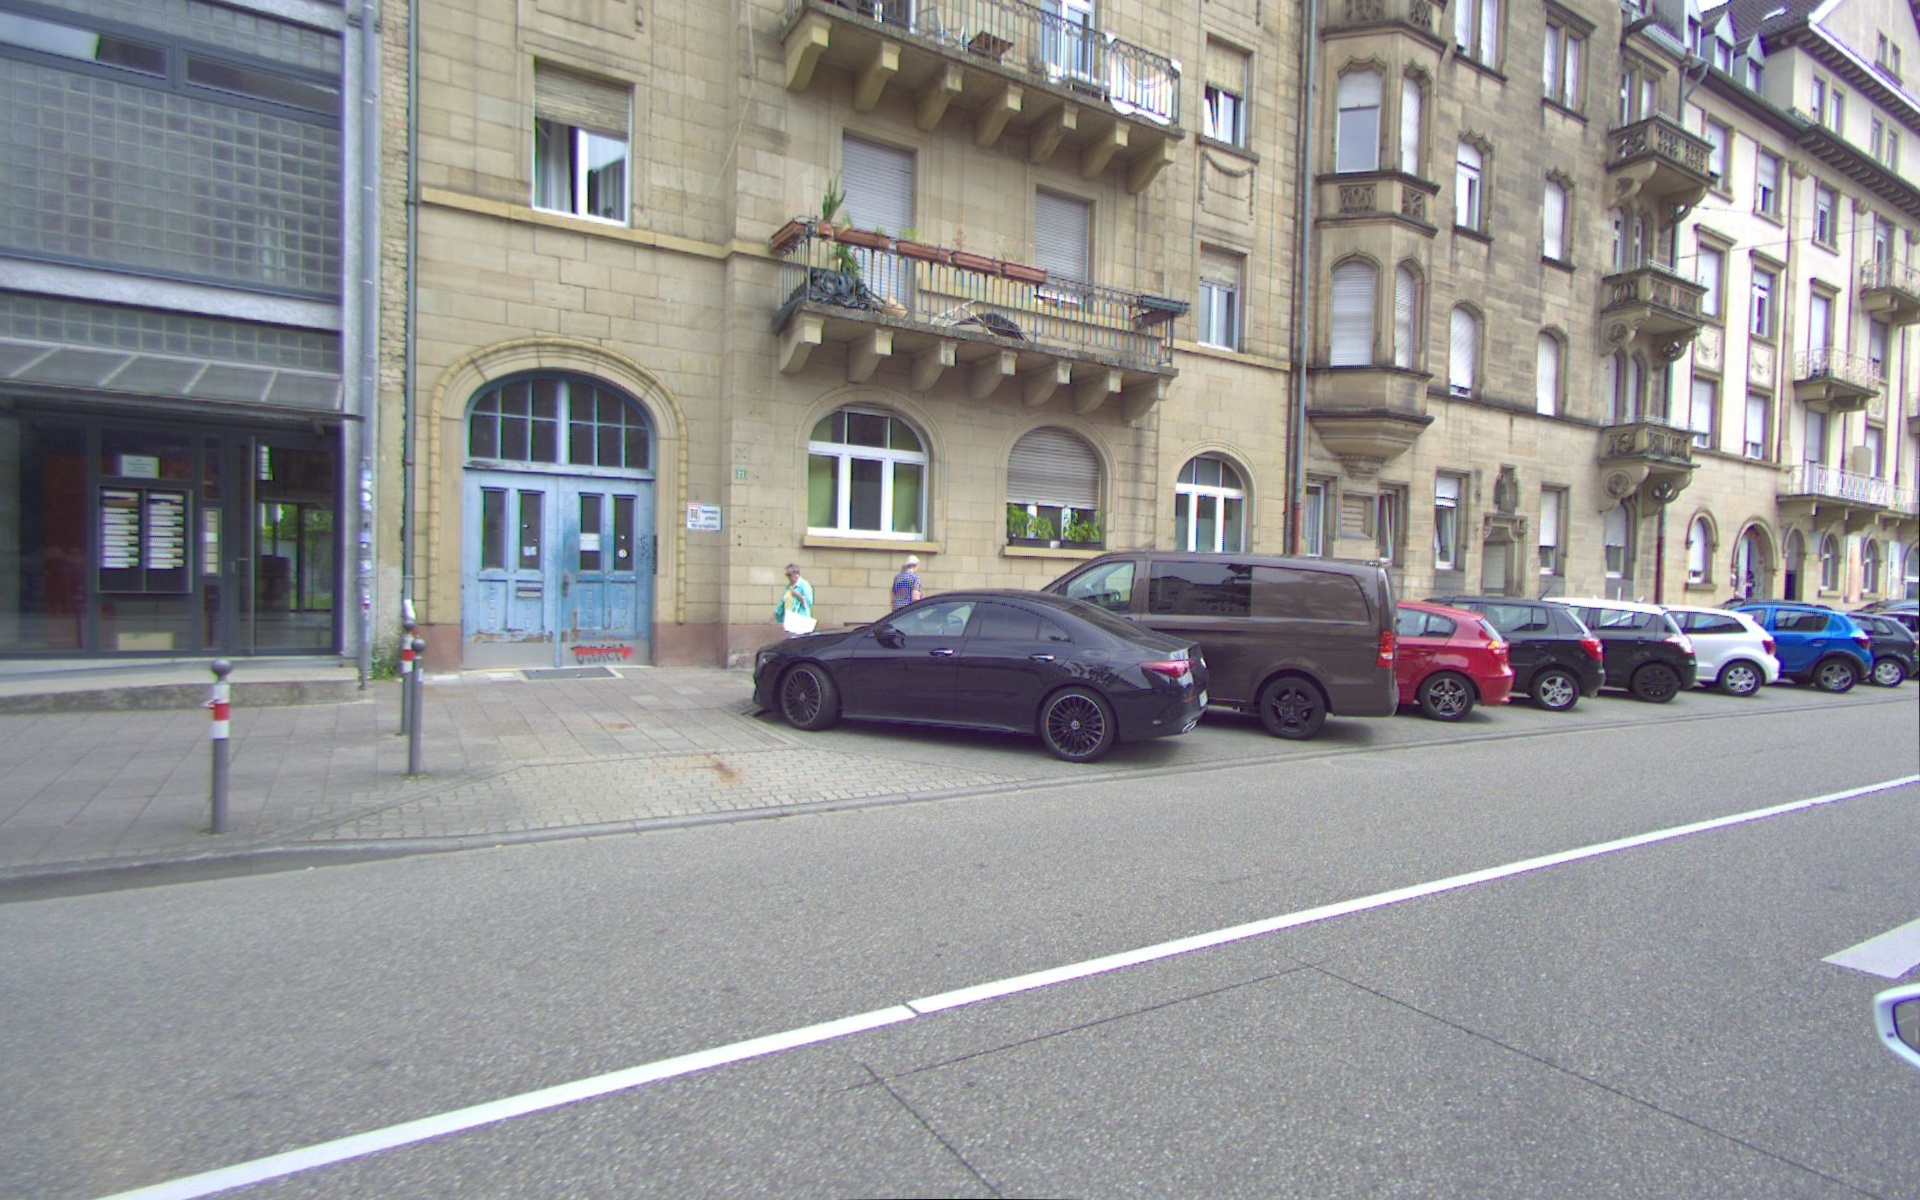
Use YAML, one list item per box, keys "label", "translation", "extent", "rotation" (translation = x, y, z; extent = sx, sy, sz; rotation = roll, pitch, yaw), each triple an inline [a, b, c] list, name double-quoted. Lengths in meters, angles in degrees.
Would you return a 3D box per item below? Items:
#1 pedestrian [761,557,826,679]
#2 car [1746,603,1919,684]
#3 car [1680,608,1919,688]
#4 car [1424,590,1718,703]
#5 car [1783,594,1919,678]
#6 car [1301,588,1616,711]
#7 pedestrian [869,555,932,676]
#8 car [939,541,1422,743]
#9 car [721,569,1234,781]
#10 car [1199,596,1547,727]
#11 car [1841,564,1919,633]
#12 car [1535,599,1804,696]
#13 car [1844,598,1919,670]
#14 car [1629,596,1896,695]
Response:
- label: "pedestrian"
  translation: [-2.116, 0.216, 12.752]
  extent: [0.506, 1.505, 0.653]
  rotation: [0, 1, -44]
- label: "car"
  translation: [20.675, 0.964, 22.903]
  extent: [3.933, 1.674, 1.796]
  rotation: [2, 1, 21]
- label: "car"
  translation: [17.890, 0.962, 21.377]
  extent: [3.829, 1.463, 1.836]
  rotation: [2, 1, 24]
- label: "car"
  translation: [9.919, 0.683, 16.659]
  extent: [3.938, 1.585, 1.794]
  rotation: [2, 1, 28]
- label: "car"
  translation: [22.749, 0.860, 24.313]
  extent: [3.933, 1.904, 1.796]
  rotation: [2, 1, 21]
- label: "car"
  translation: [7.208, 0.649, 14.861]
  extent: [3.921, 1.523, 1.630]
  rotation: [2, 1, 25]
- label: "pedestrian"
  translation: [-0.791, 0.194, 13.335]
  extent: [0.642, 1.566, 0.507]
  rotation: [2, 1, 41]
- label: "car"
  translation: [2.552, 0.341, 11.813]
  extent: [5.171, 1.935, 2.119]
  rotation: [2, 1, 25]
- label: "car"
  translation: [0.177, 0.556, 9.806]
  extent: [4.580, 1.428, 1.899]
  rotation: [4, 3, 21]
- label: "car"
  translation: [5.264, 0.716, 13.237]
  extent: [3.932, 1.428, 1.797]
  rotation: [2, 1, 18]
- label: "car"
  translation: [56.915, -0.063, 57.564]
  extent: [3.390, 3.968, 9.907]
  rotation: [1, 1, -6]
- label: "car"
  translation: [12.594, 0.784, 18.116]
  extent: [3.615, 1.501, 1.741]
  rotation: [2, 1, 23]
- label: "car"
  translation: [25.607, 0.904, 25.783]
  extent: [3.933, 1.797, 1.796]
  rotation: [2, 1, 21]
- label: "car"
  translation: [15.521, 0.820, 19.692]
  extent: [3.706, 1.674, 1.723]
  rotation: [2, 1, 23]
